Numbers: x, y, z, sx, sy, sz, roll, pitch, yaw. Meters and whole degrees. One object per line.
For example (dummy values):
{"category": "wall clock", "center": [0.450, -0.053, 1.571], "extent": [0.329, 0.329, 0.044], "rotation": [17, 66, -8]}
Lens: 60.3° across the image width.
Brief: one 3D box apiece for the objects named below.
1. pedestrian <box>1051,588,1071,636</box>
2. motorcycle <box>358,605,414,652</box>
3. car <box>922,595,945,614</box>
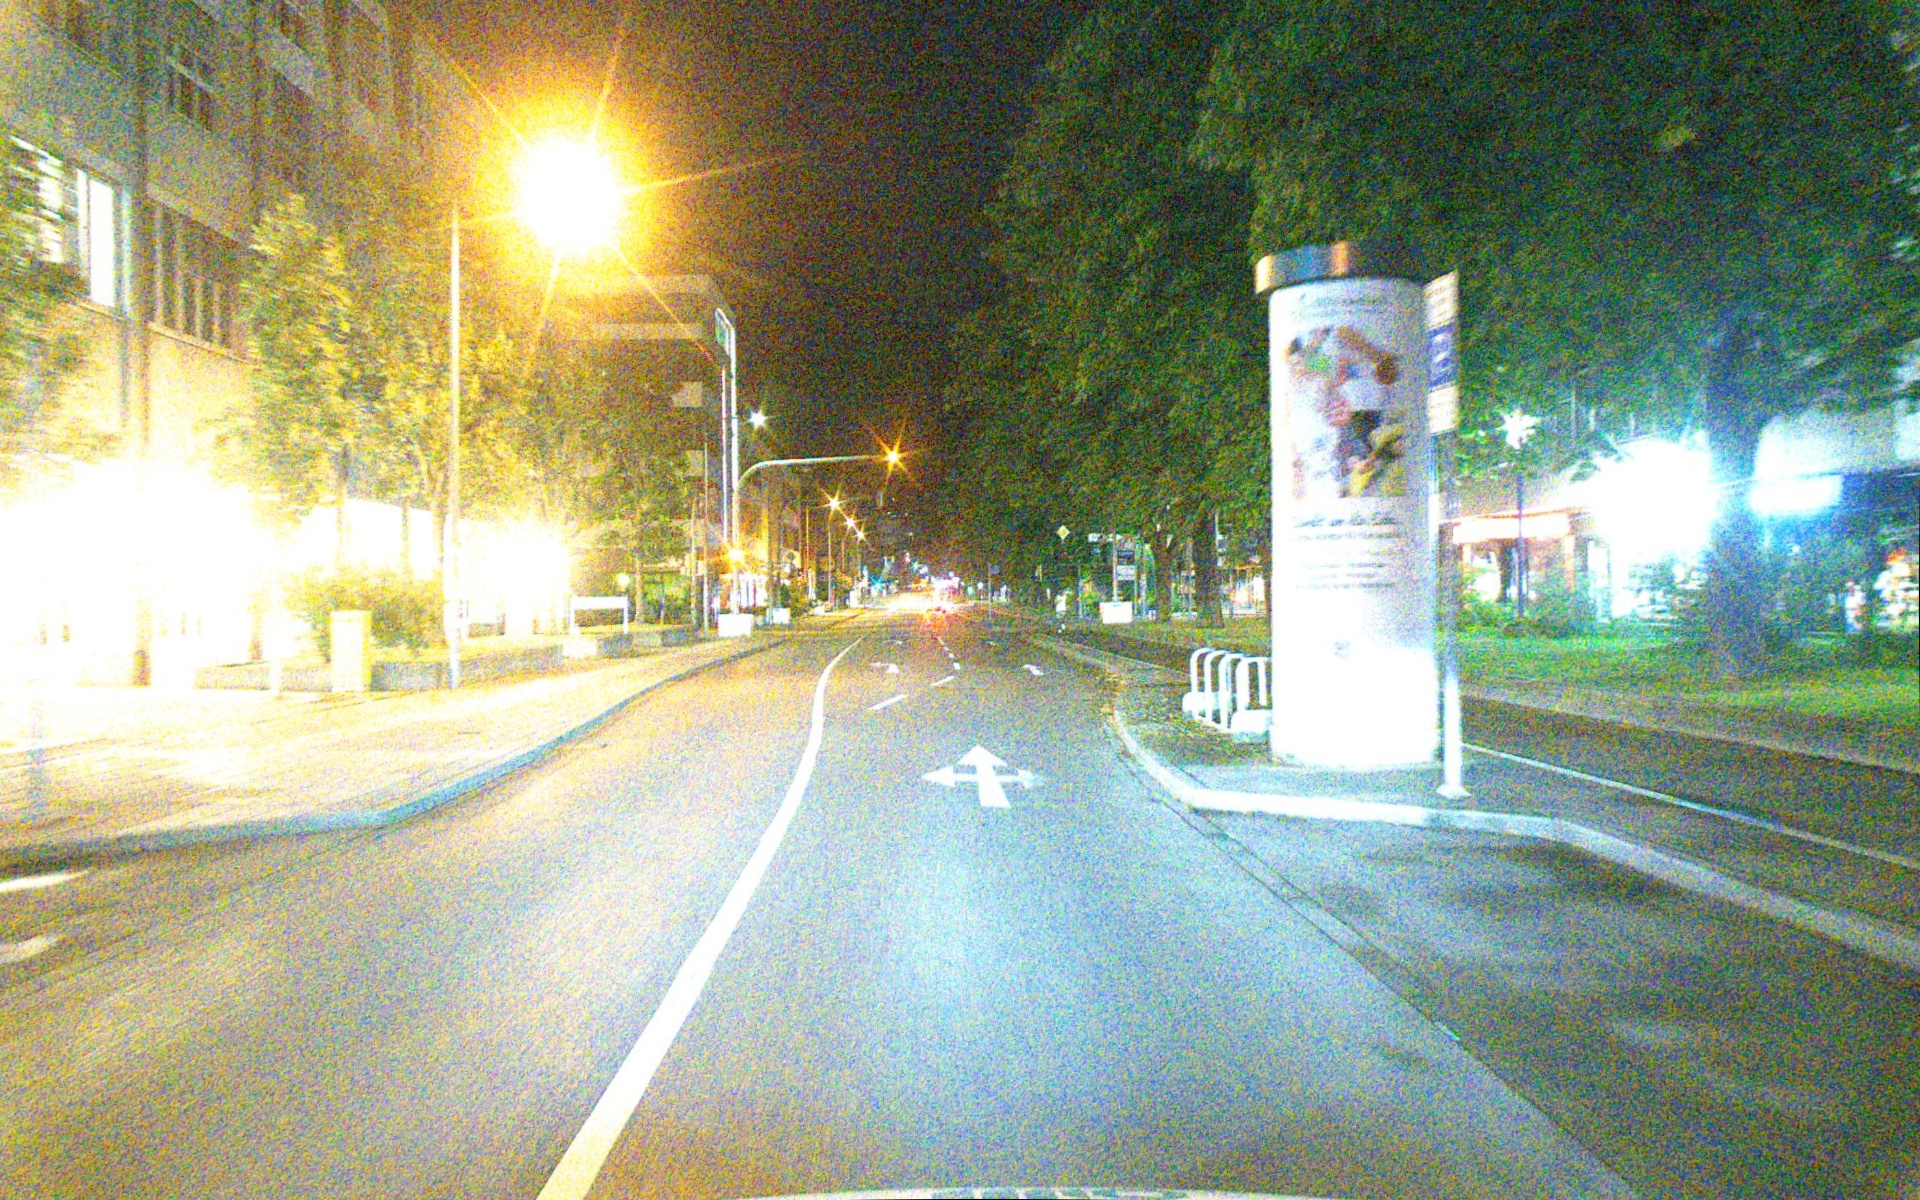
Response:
{"category": "pedestrian", "center": [4.021, 0.473, 65.976], "extent": [0.688, 1.850, 1.081], "rotation": [-1, 0, -1]}
{"category": "motorcycle", "center": [-13.111, 0.645, 37.827], "extent": [0.468, 1.038, 1.676], "rotation": [-1, 0, 9]}
{"category": "car", "center": [-2.383, 0.375, 149.654], "extent": [1.953, 1.672, 3.998], "rotation": [-2, 0, -2]}
